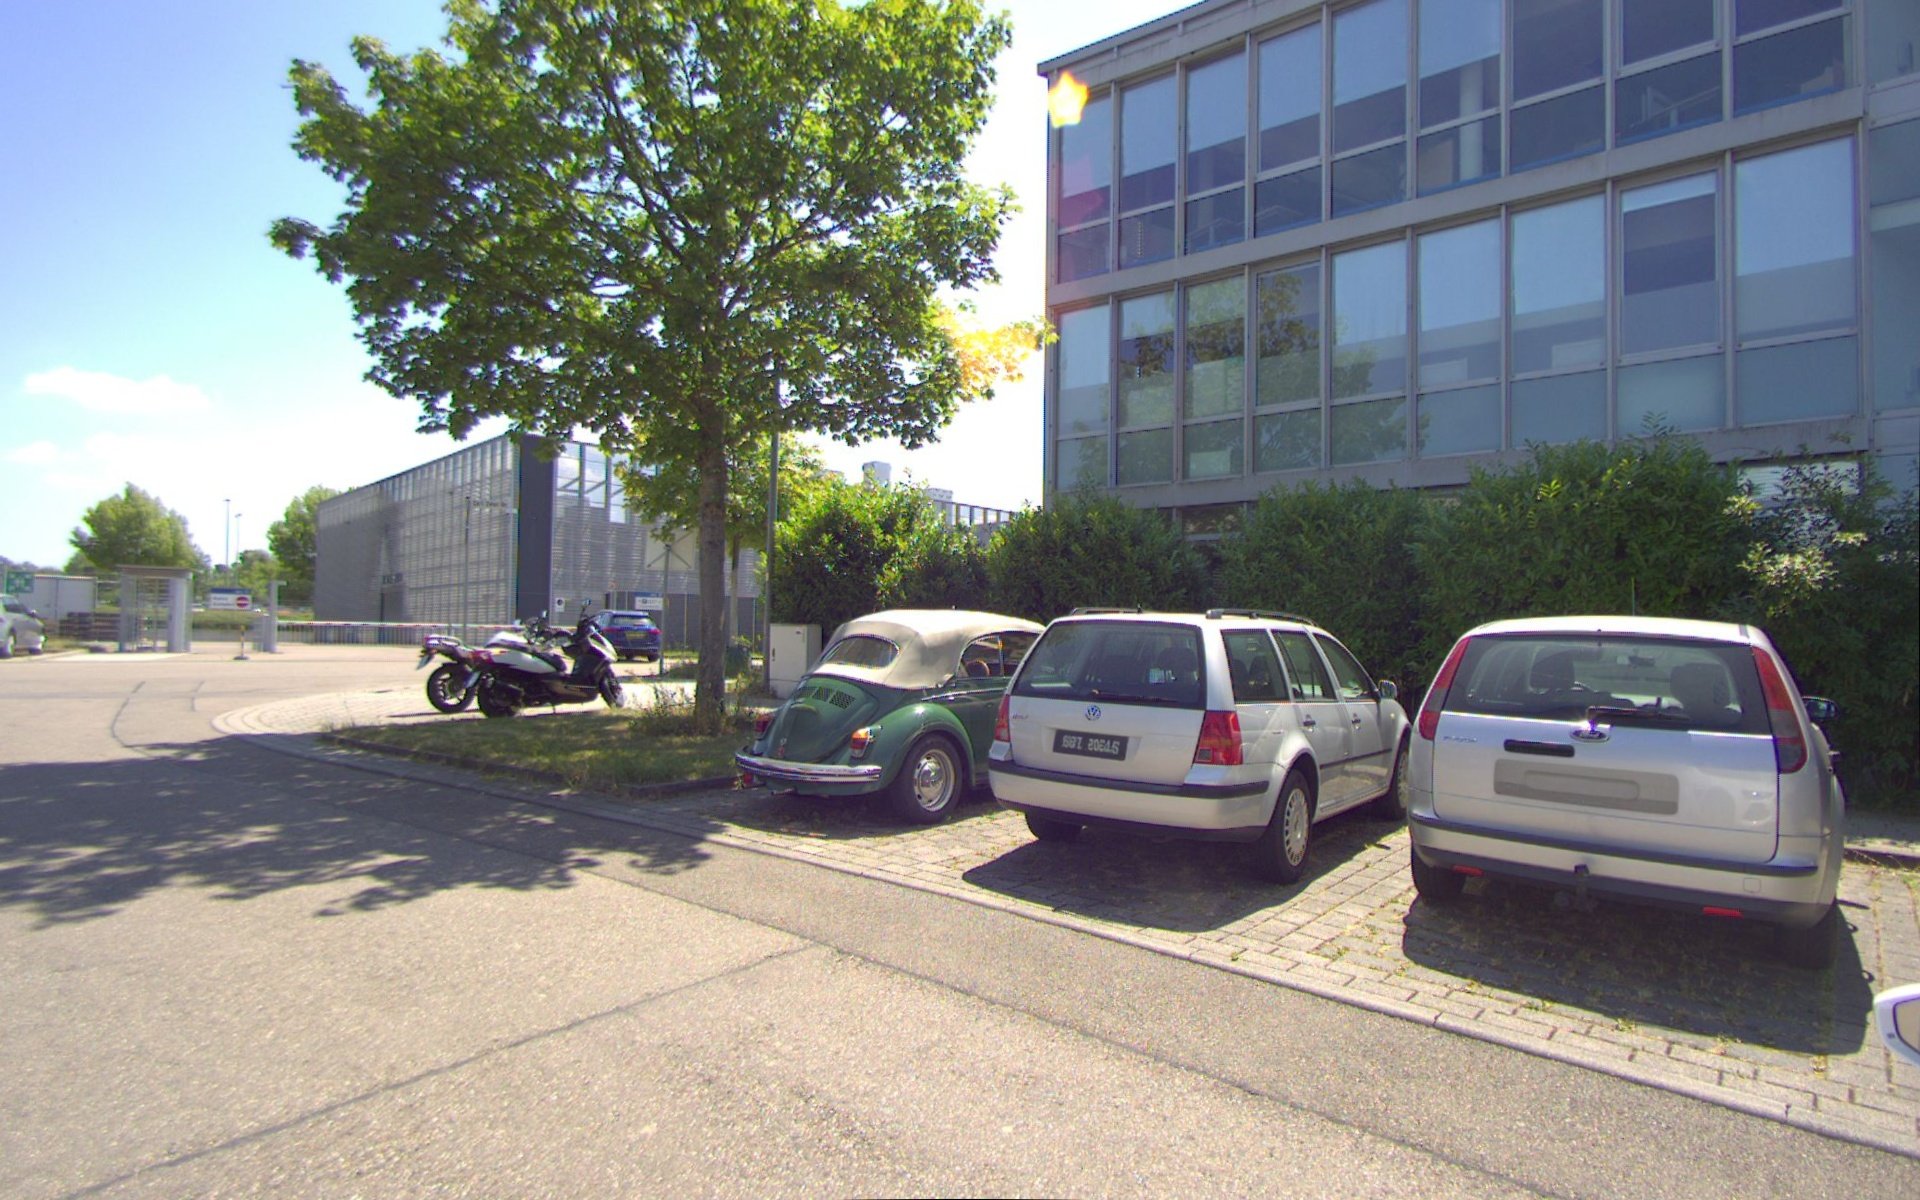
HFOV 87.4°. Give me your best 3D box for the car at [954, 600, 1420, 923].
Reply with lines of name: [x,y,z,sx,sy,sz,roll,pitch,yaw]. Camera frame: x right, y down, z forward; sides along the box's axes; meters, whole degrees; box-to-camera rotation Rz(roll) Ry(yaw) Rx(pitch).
car: [1.779,0.820,6.755,1.626,1.498,3.878,1,-2,36]

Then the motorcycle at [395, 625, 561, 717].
motorcycle: [-6.324,0.902,13.300,0.476,1.123,1.983,1,-1,36]

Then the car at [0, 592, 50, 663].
car: [-22.594,0.580,23.134,1.634,1.542,3.967,2,-1,-31]

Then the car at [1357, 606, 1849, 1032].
car: [3.872,0.855,5.807,1.698,1.498,4.329,1,-2,39]

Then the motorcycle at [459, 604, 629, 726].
motorcycle: [-5.139,0.774,12.551,0.476,1.408,1.983,1,-1,36]

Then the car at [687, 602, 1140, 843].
car: [-0.137,0.817,8.234,1.626,1.467,3.878,1,-2,36]

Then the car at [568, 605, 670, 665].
car: [-10.039,0.994,29.391,1.978,1.616,3.966,2,-1,-32]
